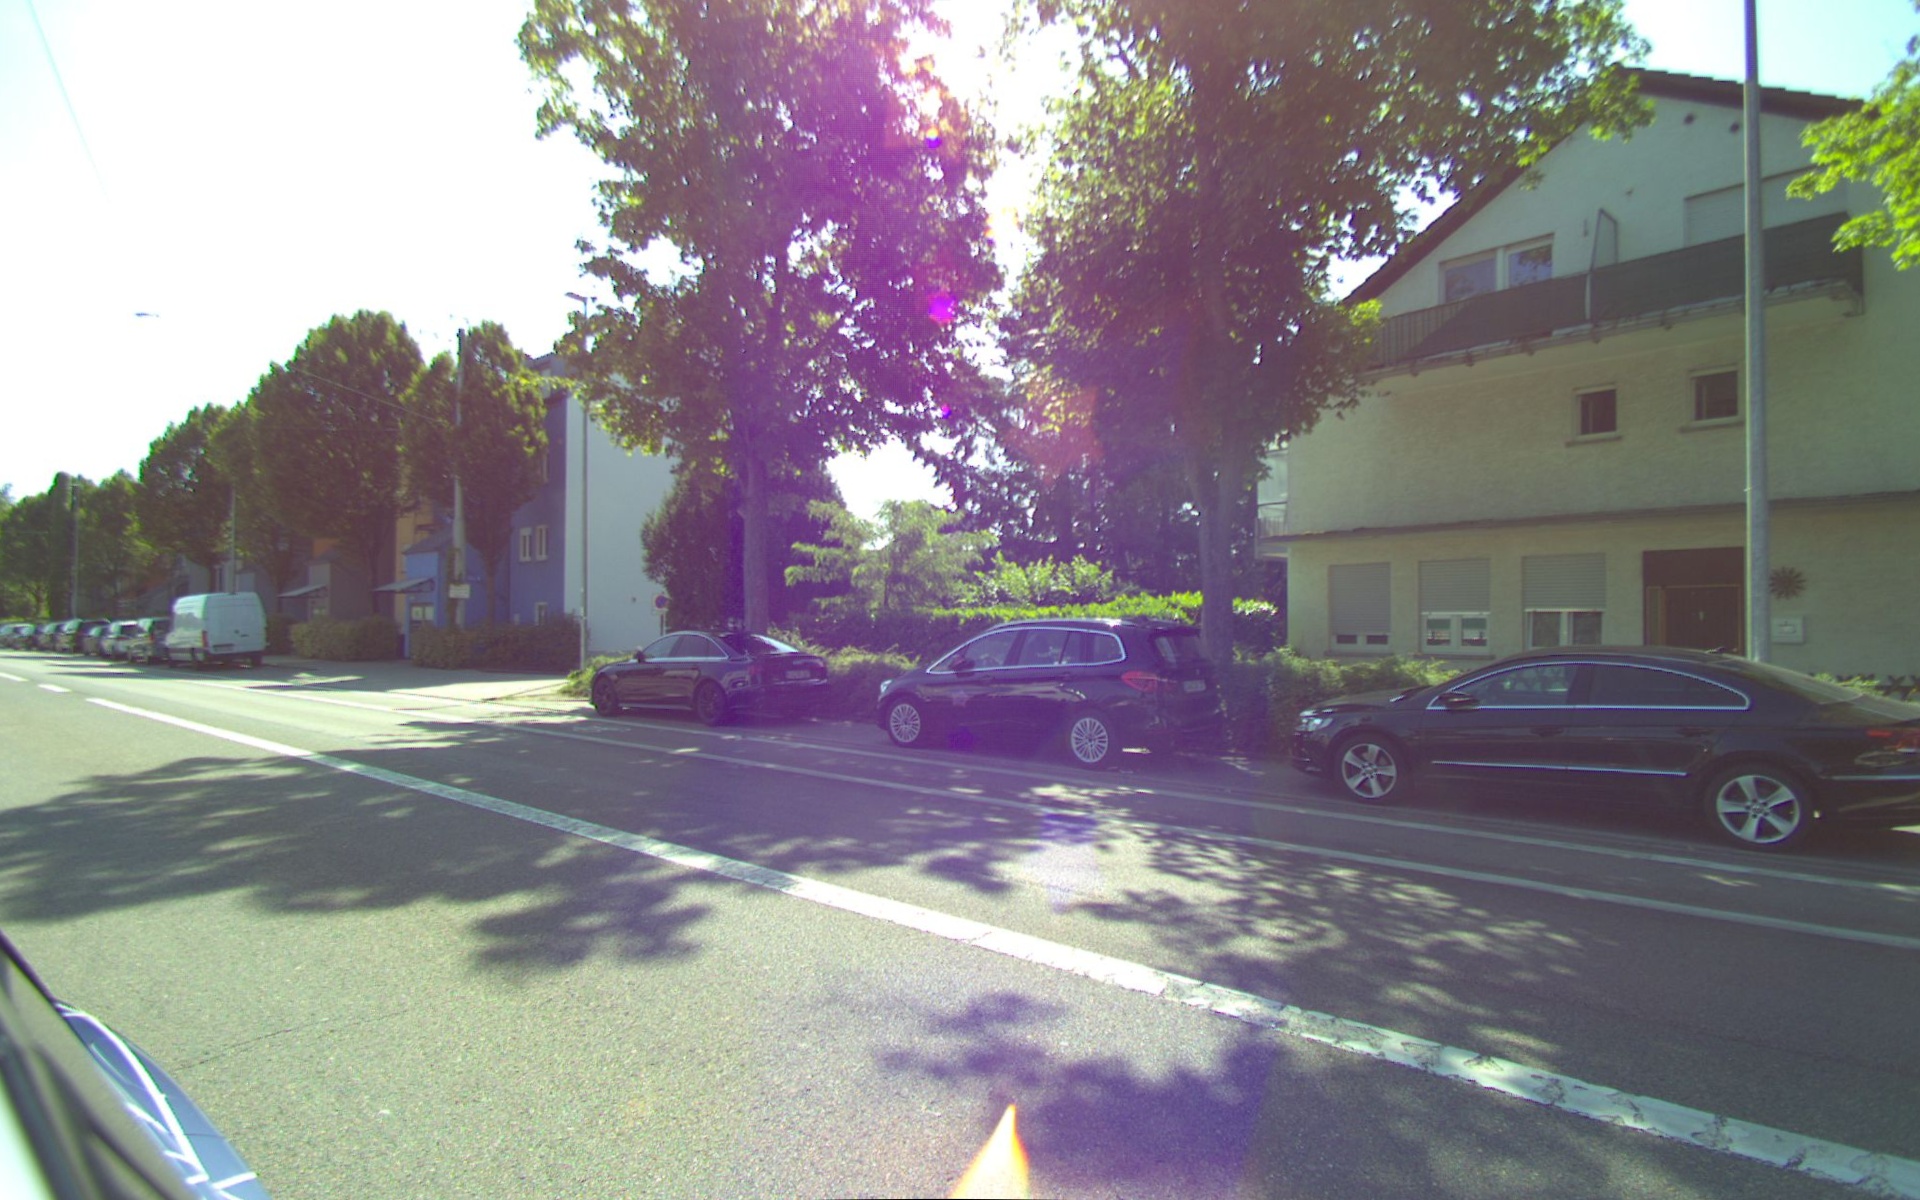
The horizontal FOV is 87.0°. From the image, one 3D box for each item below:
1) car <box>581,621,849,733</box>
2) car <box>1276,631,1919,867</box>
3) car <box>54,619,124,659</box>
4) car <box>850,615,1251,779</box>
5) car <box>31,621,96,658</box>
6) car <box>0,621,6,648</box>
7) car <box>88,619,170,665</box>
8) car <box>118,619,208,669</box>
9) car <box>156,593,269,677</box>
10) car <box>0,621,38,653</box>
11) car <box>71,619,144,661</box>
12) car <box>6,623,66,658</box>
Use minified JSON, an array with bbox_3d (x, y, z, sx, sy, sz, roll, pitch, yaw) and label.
[{"bbox_3d":[-4.086,1.153,16.510,4.616,1.583,1.845,-1,-2,39],"label":"car"},{"bbox_3d":[5.238,1.008,8.421,4.619,1.426,1.844,-1,0,41],"label":"car"},{"bbox_3d":[-45.757,2.009,53.150,4.766,1.818,1.974,-2,4,41],"label":"car"},{"bbox_3d":[0.928,1.015,12.243,4.619,1.583,1.844,-1,0,41],"label":"car"},{"bbox_3d":[-50.241,2.191,56.668,4.766,1.818,1.974,-2,4,41],"label":"car"},{"bbox_3d":[-68.783,2.506,71.105,4.766,1.818,1.974,-2,4,41],"label":"car"},{"bbox_3d":[-38.062,1.874,46.316,4.766,1.818,1.974,-2,4,41],"label":"car"},{"bbox_3d":[-33.520,1.808,42.505,4.766,1.818,1.974,-2,4,41],"label":"car"},{"bbox_3d":[-27.374,1.237,36.955,6.213,2.713,1.973,-2,4,43],"label":"car"},{"bbox_3d":[-60.288,2.355,64.178,4.766,1.818,1.974,-2,4,41],"label":"car"},{"bbox_3d":[-42.127,1.948,49.997,4.254,1.818,1.974,-2,4,41],"label":"car"},{"bbox_3d":[-54.906,2.374,60.104,4.766,1.818,1.974,-2,4,41],"label":"car"}]
